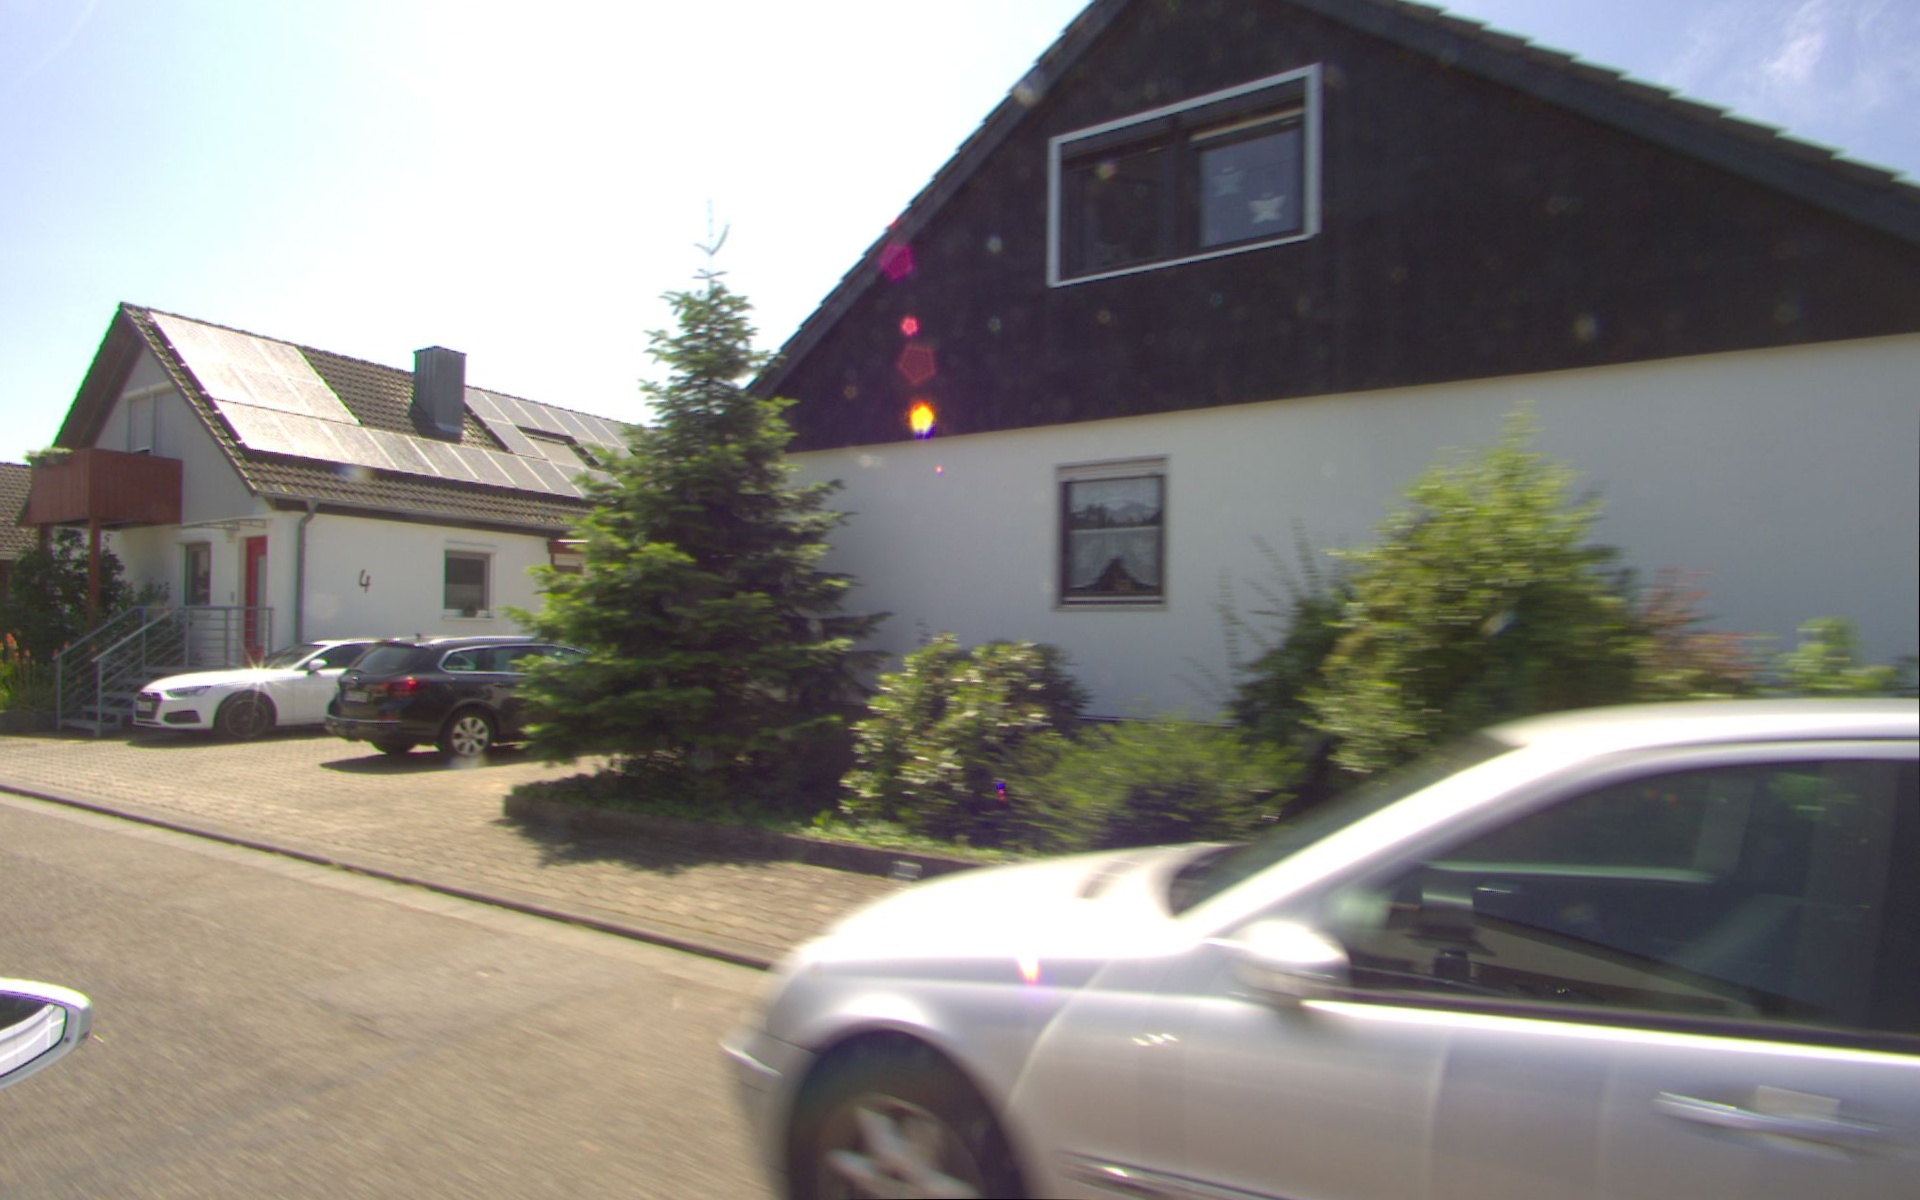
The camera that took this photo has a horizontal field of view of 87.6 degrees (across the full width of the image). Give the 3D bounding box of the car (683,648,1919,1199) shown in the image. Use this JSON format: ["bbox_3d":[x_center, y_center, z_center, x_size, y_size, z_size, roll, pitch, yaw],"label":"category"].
[{"bbox_3d":[1.564,0.885,2.077,4.274,1.478,1.684,0,-2,32],"label":"car"}]

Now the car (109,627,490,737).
[{"bbox_3d":[-9.957,1.189,15.496,1.924,1.414,4.530,0,-3,33],"label":"car"}]

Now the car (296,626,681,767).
[{"bbox_3d":[-5.989,1.147,13.253,1.970,1.505,4.236,0,-2,31],"label":"car"}]
